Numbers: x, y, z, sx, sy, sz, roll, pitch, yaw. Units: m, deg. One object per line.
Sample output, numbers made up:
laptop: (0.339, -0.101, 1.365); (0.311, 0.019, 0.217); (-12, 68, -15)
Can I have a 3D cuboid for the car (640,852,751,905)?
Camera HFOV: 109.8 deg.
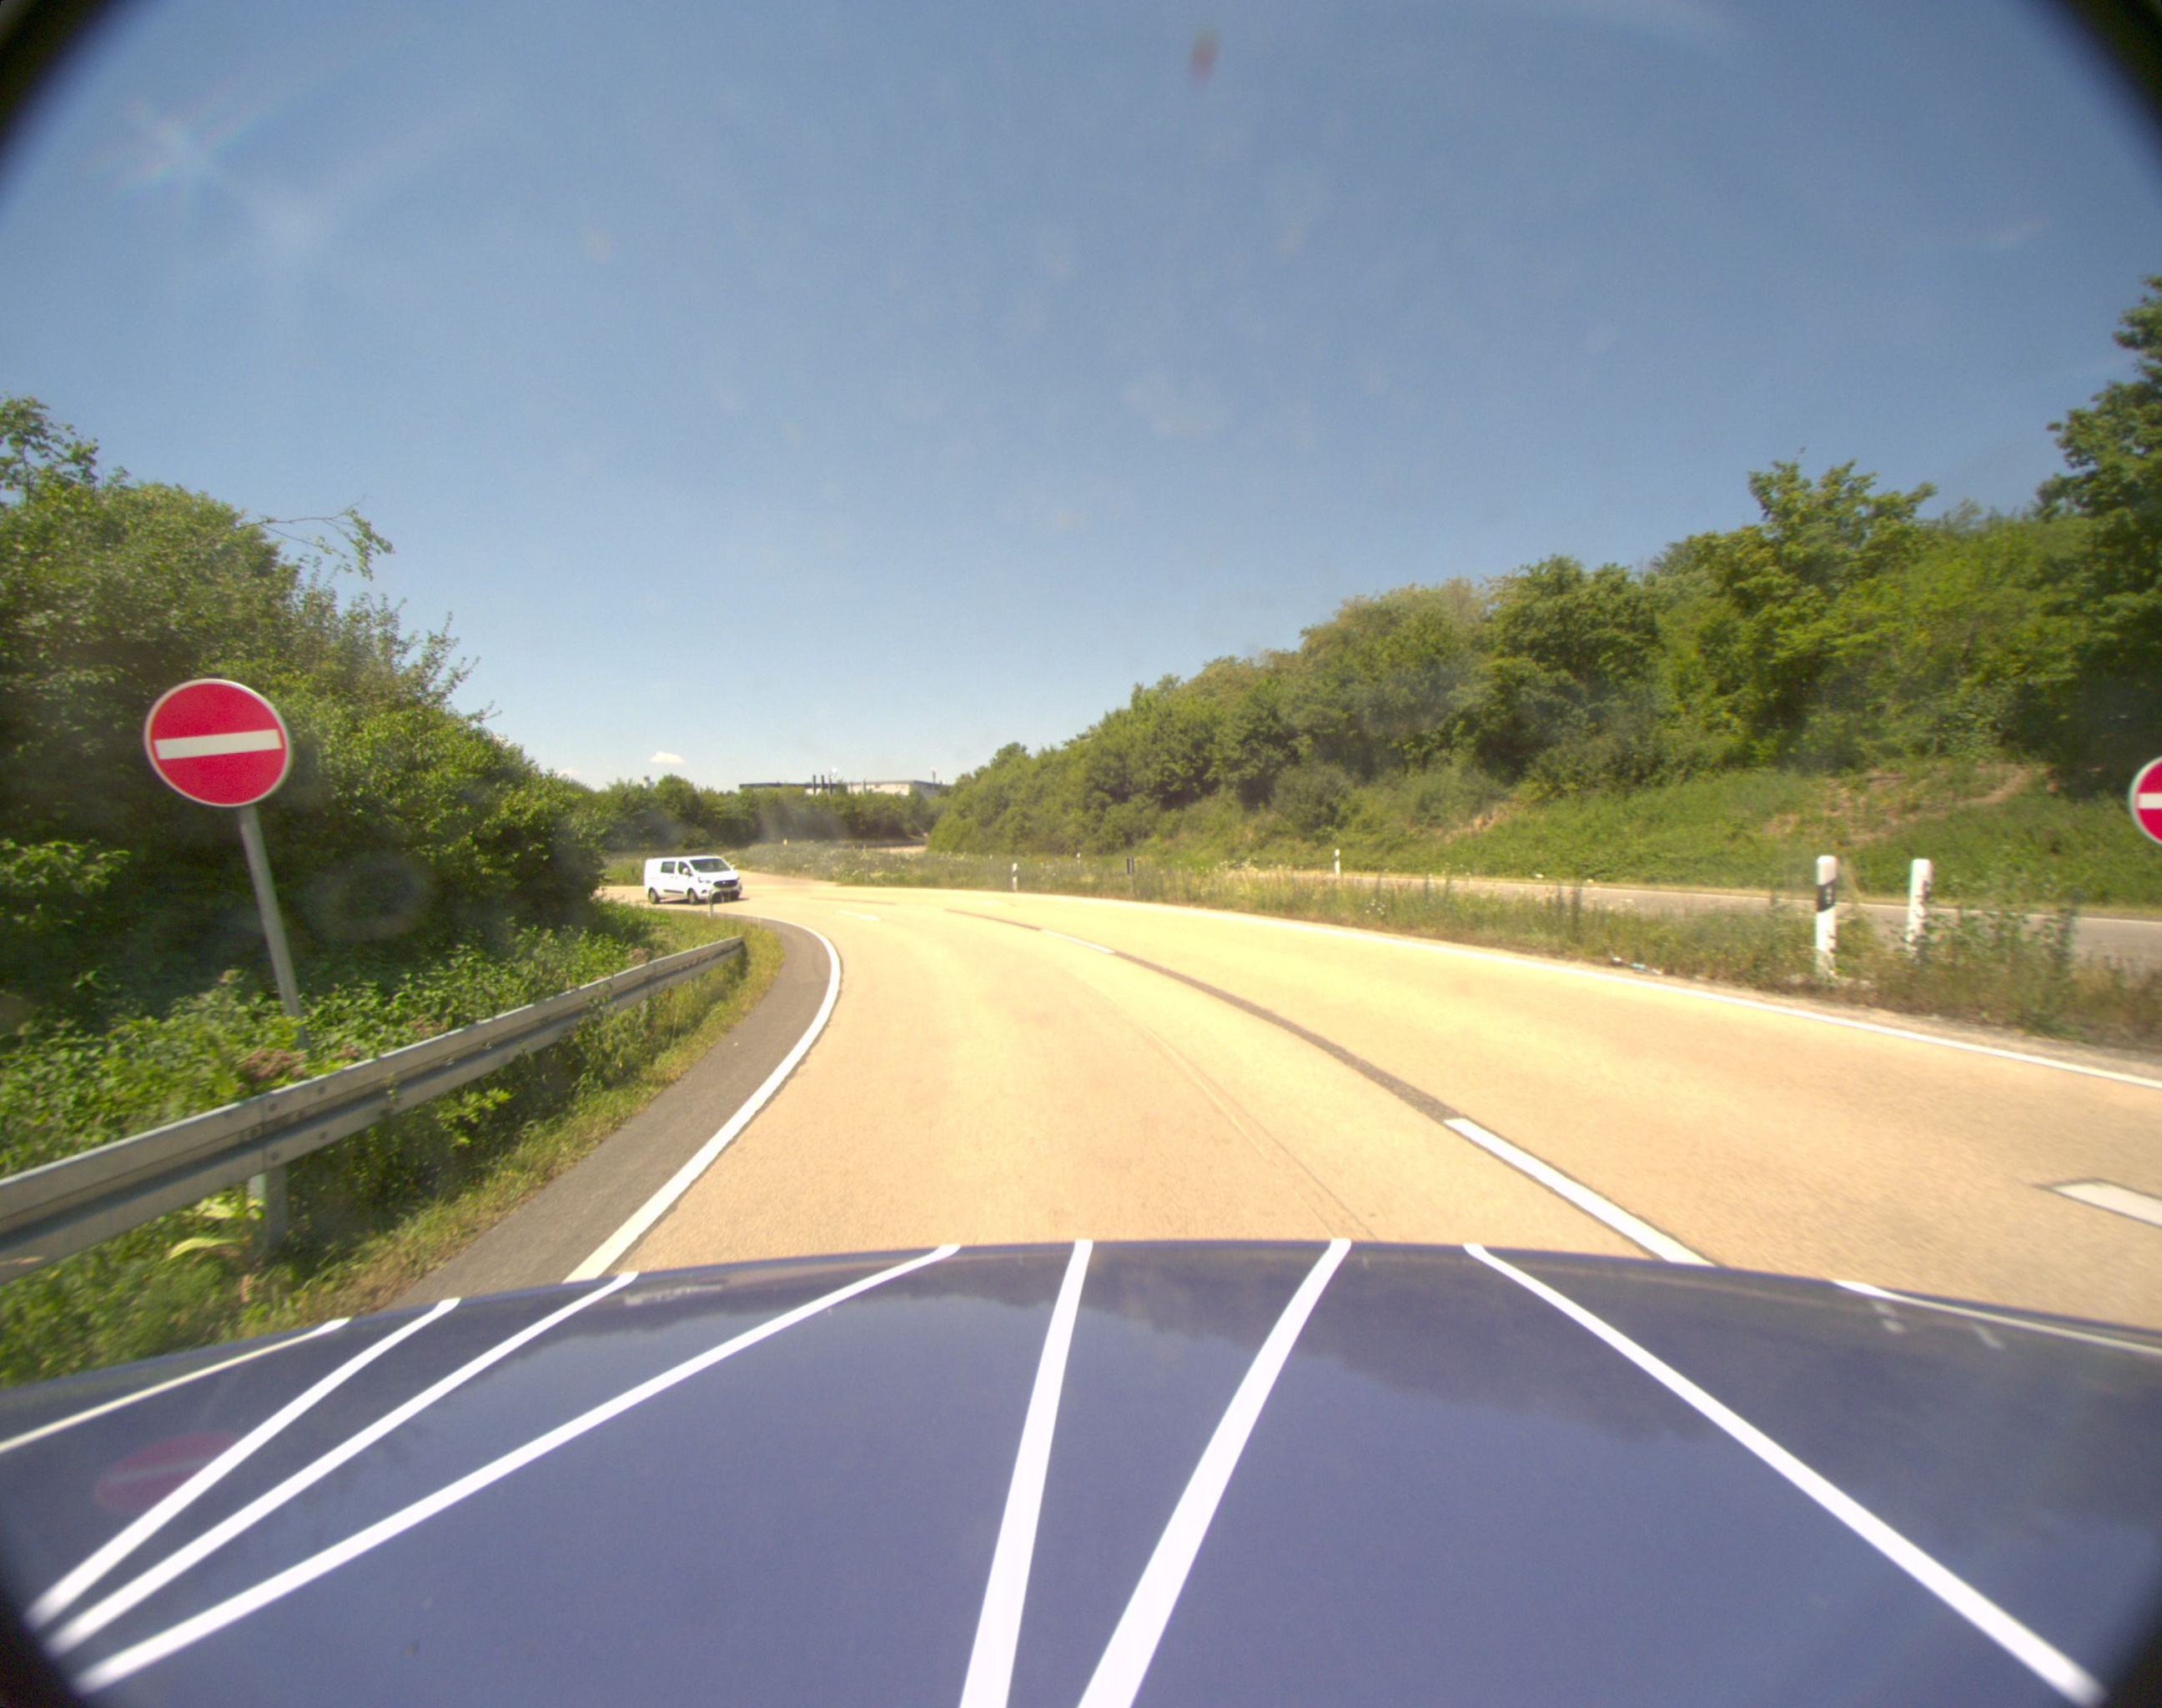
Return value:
car: (-16.773, 1.059, 32.984); (5.027, 2.003, 2.067); (-1, 4, 36)
